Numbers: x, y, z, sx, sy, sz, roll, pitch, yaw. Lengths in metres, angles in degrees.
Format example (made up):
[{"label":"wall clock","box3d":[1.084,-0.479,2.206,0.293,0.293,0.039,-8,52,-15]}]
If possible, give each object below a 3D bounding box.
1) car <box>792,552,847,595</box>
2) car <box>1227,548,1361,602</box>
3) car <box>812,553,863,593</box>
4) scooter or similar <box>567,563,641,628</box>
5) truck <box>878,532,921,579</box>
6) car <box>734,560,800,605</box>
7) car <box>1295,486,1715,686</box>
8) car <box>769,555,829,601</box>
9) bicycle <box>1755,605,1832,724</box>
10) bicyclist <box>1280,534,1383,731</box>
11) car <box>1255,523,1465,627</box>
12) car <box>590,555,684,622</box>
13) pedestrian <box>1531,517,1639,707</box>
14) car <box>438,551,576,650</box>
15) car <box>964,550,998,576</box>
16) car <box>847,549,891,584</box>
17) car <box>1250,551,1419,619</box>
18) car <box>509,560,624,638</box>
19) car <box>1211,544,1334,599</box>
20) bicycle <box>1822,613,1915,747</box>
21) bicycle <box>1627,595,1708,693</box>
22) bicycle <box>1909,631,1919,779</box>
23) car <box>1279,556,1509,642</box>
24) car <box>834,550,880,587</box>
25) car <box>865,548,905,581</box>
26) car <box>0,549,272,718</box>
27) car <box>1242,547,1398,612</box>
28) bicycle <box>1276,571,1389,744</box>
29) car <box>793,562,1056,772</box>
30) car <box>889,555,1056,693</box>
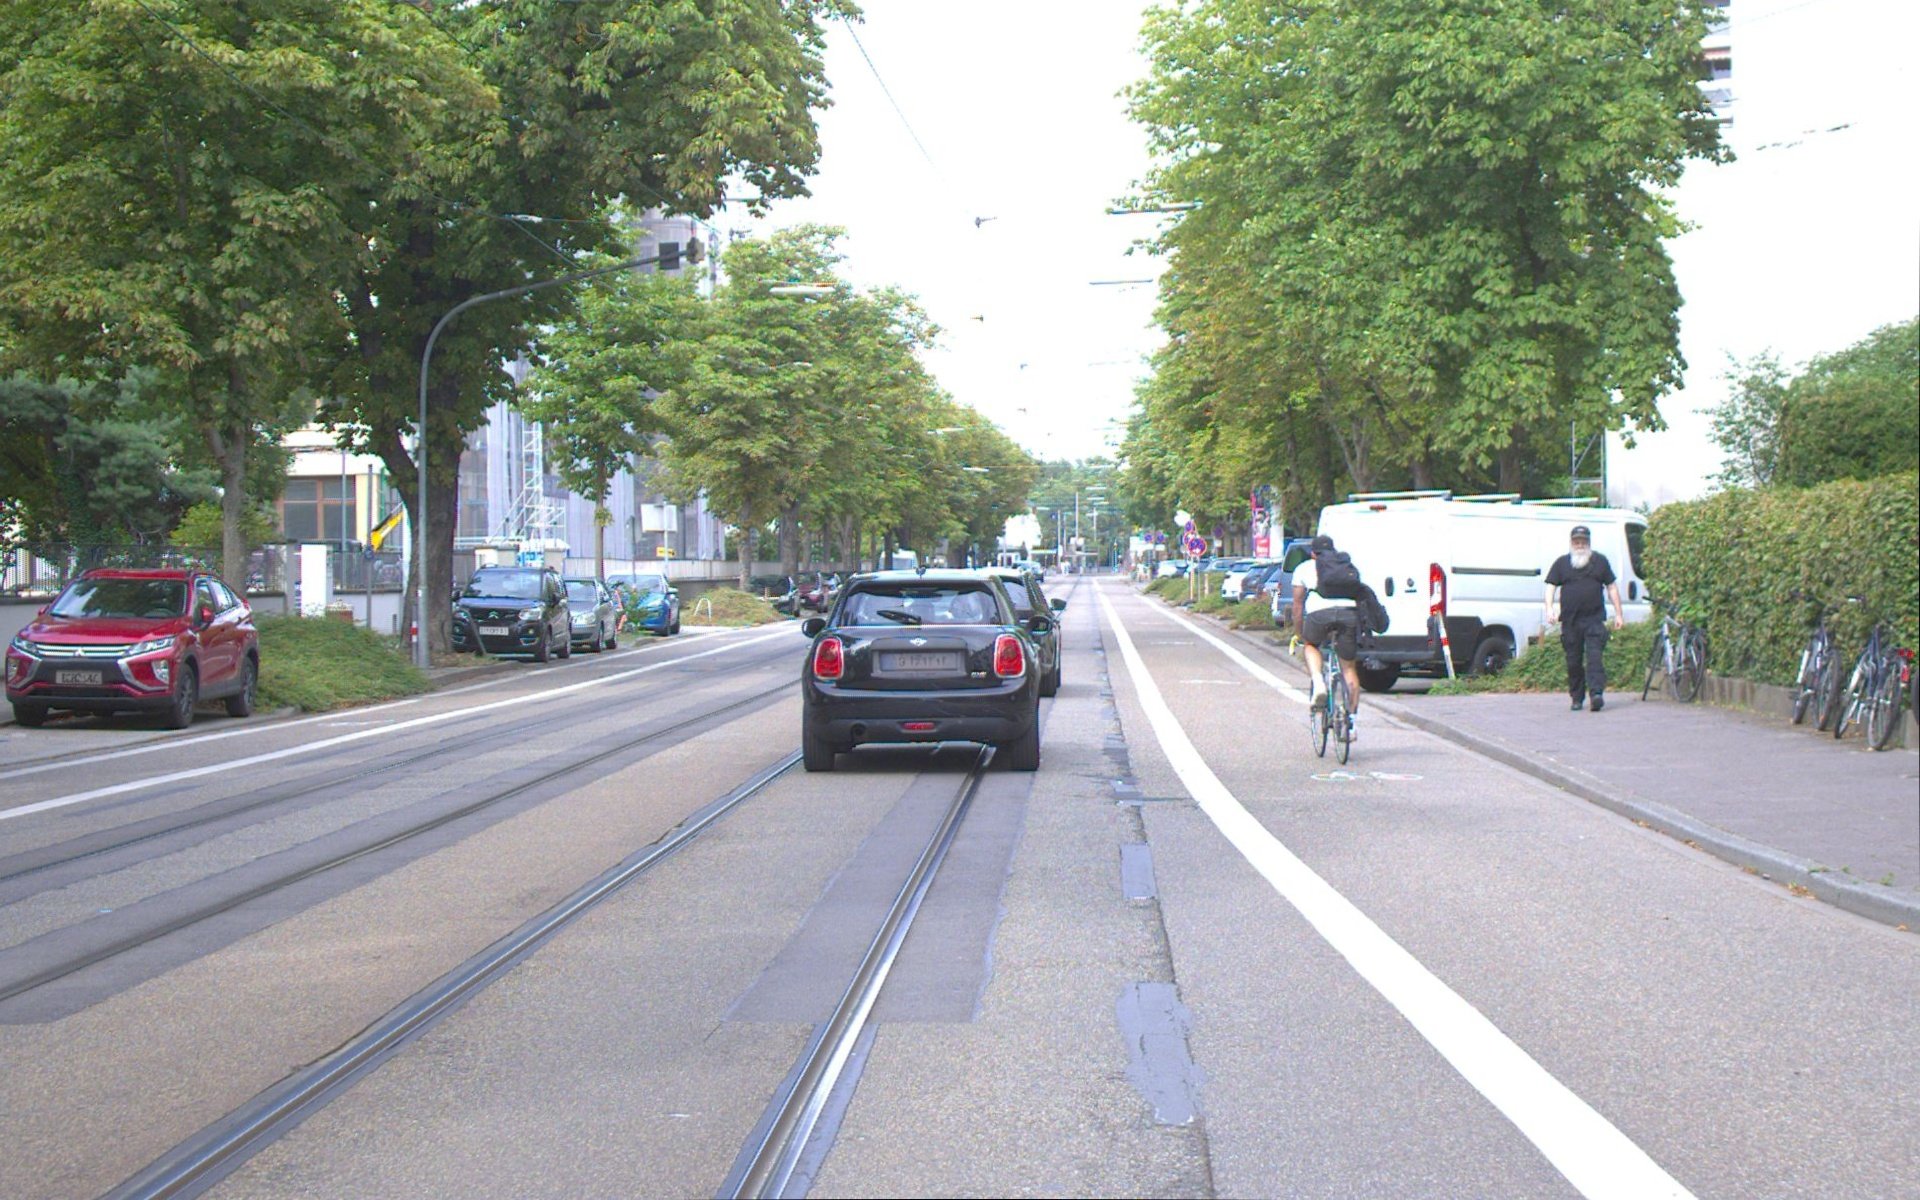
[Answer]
[{"label":"car","box3d":[-5.356,-1.029,131.437,1.802,1.578,4.031,-1,1,1]},{"label":"car","box3d":[9.286,-0.707,95.423,3.524,1.437,1.623,-1,1,-36]},{"label":"car","box3d":[-5.054,-1.117,142.167,1.802,1.578,4.031,-1,1,1]},{"label":"scooter or similar","box3d":[-7.664,-0.103,74.044,1.444,1.339,0.700,-2,1,4]},{"label":"truck","box3d":[-3.268,-2.422,185.814,2.071,2.462,4.899,-1,1,1]},{"label":"car","box3d":[-6.276,-0.580,112.027,1.802,1.369,4.031,-1,1,1]},{"label":"car","box3d":[6.642,-0.182,41.602,4.945,2.282,2.384,0,1,-41]},{"label":"car","box3d":[-5.725,-0.796,122.576,1.802,1.578,4.031,-1,1,1]},{"label":"bicycle","box3d":[6.736,0.508,27.823,0.386,0.904,1.664,-2,0,7]},{"label":"bicyclist","box3d":[2.815,0.234,26.111,0.657,1.458,1.178,0,1,1]},{"label":"car","box3d":[8.010,-0.506,68.679,4.264,2.008,1.830,0,1,-43]},{"label":"car","box3d":[-7.325,-0.284,78.244,1.693,1.482,3.677,1,1,1]},{"label":"pedestrian","box3d":[5.861,0.103,32.275,0.785,1.727,0.896,-3,1,2]},{"label":"car","box3d":[-7.808,-0.026,59.526,1.756,1.641,4.052,1,1,1]},{"label":"car","box3d":[1.215,-2.109,196.201,1.835,1.443,4.553,0,1,1]},{"label":"car","box3d":[-4.271,-1.570,161.343,1.802,1.578,4.031,-1,1,1]},{"label":"car","box3d":[8.194,-0.343,75.058,3.819,1.455,1.639,0,1,-45]},{"label":"car","box3d":[-7.566,-0.040,66.404,1.693,1.422,3.868,1,1,1]},{"label":"car","box3d":[9.235,-0.851,101.531,3.437,1.567,1.560,-1,1,-36]},{"label":"bicycle","box3d":[6.552,0.561,24.838,0.386,0.904,1.664,-2,0,7]},{"label":"bicycle","box3d":[6.795,0.411,33.093,0.386,0.904,1.842,-2,0,0]},{"label":"bicycle","box3d":[6.239,0.640,20.417,0.485,0.904,1.665,-2,0,-9]},{"label":"car","box3d":[7.458,-0.041,58.911,3.964,1.428,1.689,0,1,-40]},{"label":"car","box3d":[-4.561,-1.417,152.389,1.802,1.578,4.031,-1,1,1]},{"label":"car","box3d":[-3.753,-1.771,172.735,1.802,1.578,4.031,-1,1,1]},{"label":"car","box3d":[-8.764,0.302,36.940,1.721,1.649,4.542,2,1,1]},{"label":"car","box3d":[8.590,-0.496,81.901,3.729,1.517,1.640,0,1,-43]},{"label":"bicycle","box3d":[2.826,0.411,26.243,0.657,1.244,2.125,0,1,1]},{"label":"car","box3d":[-0.256,0.439,25.603,1.793,1.418,4.000,0,1,0]},{"label":"car","box3d":[0.102,0.238,39.606,1.793,1.465,4.000,1,1,-1]}]
